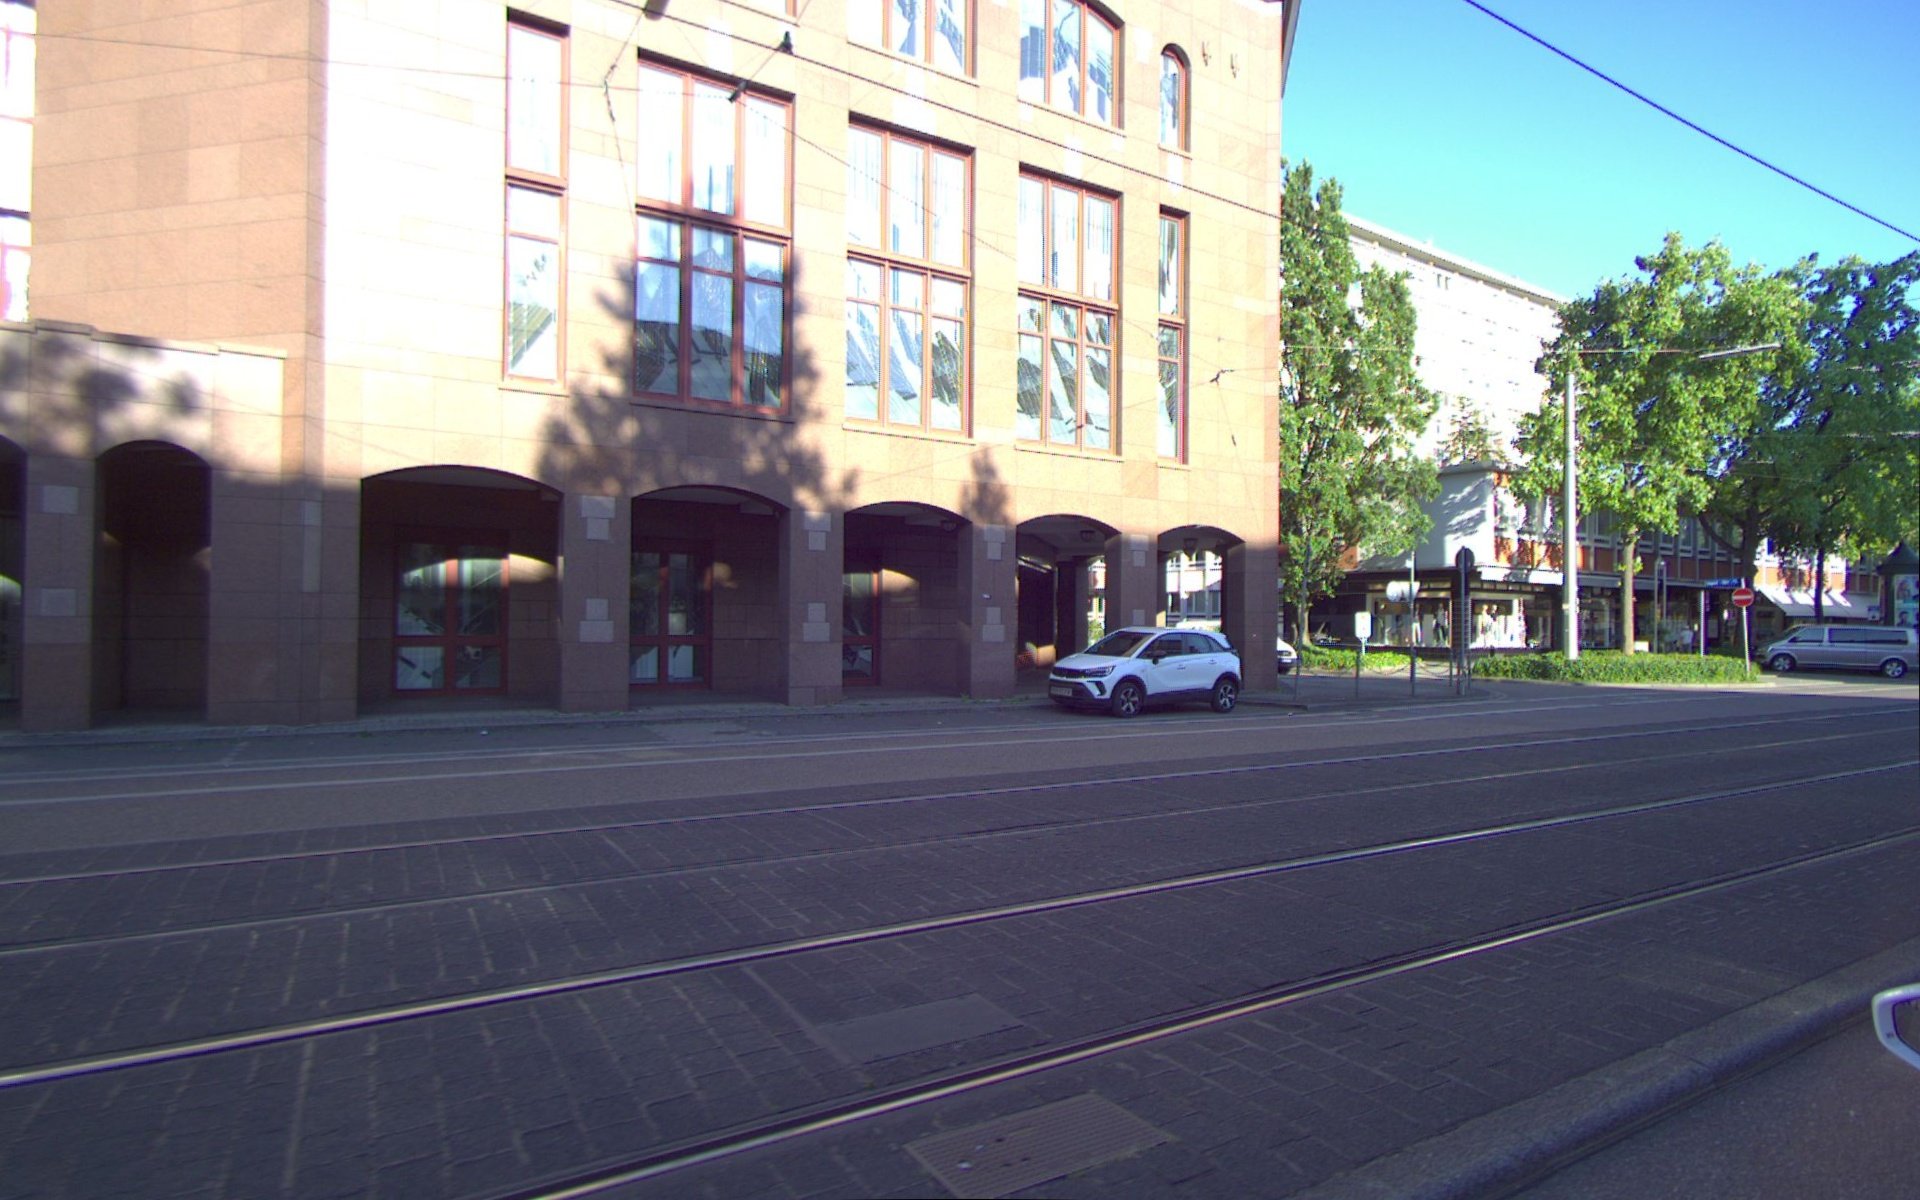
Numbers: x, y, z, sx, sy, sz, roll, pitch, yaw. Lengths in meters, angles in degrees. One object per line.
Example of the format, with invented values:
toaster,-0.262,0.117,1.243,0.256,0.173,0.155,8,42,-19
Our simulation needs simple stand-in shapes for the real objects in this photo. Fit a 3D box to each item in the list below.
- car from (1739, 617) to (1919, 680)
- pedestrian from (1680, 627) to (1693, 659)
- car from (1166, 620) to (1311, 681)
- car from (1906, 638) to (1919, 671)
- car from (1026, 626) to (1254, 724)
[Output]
car,34.764,1.905,40.225,5.172,2.069,2.416,3,0,28
pedestrian,31.611,1.859,43.716,0.358,1.361,0.481,4,2,39
car,10.355,1.825,37.609,2.134,2.020,4.876,2,0,-40
car,50.686,2.862,50.732,3.811,1.649,1.872,3,1,29
car,3.501,1.368,19.319,4.210,1.621,1.858,2,0,-34
